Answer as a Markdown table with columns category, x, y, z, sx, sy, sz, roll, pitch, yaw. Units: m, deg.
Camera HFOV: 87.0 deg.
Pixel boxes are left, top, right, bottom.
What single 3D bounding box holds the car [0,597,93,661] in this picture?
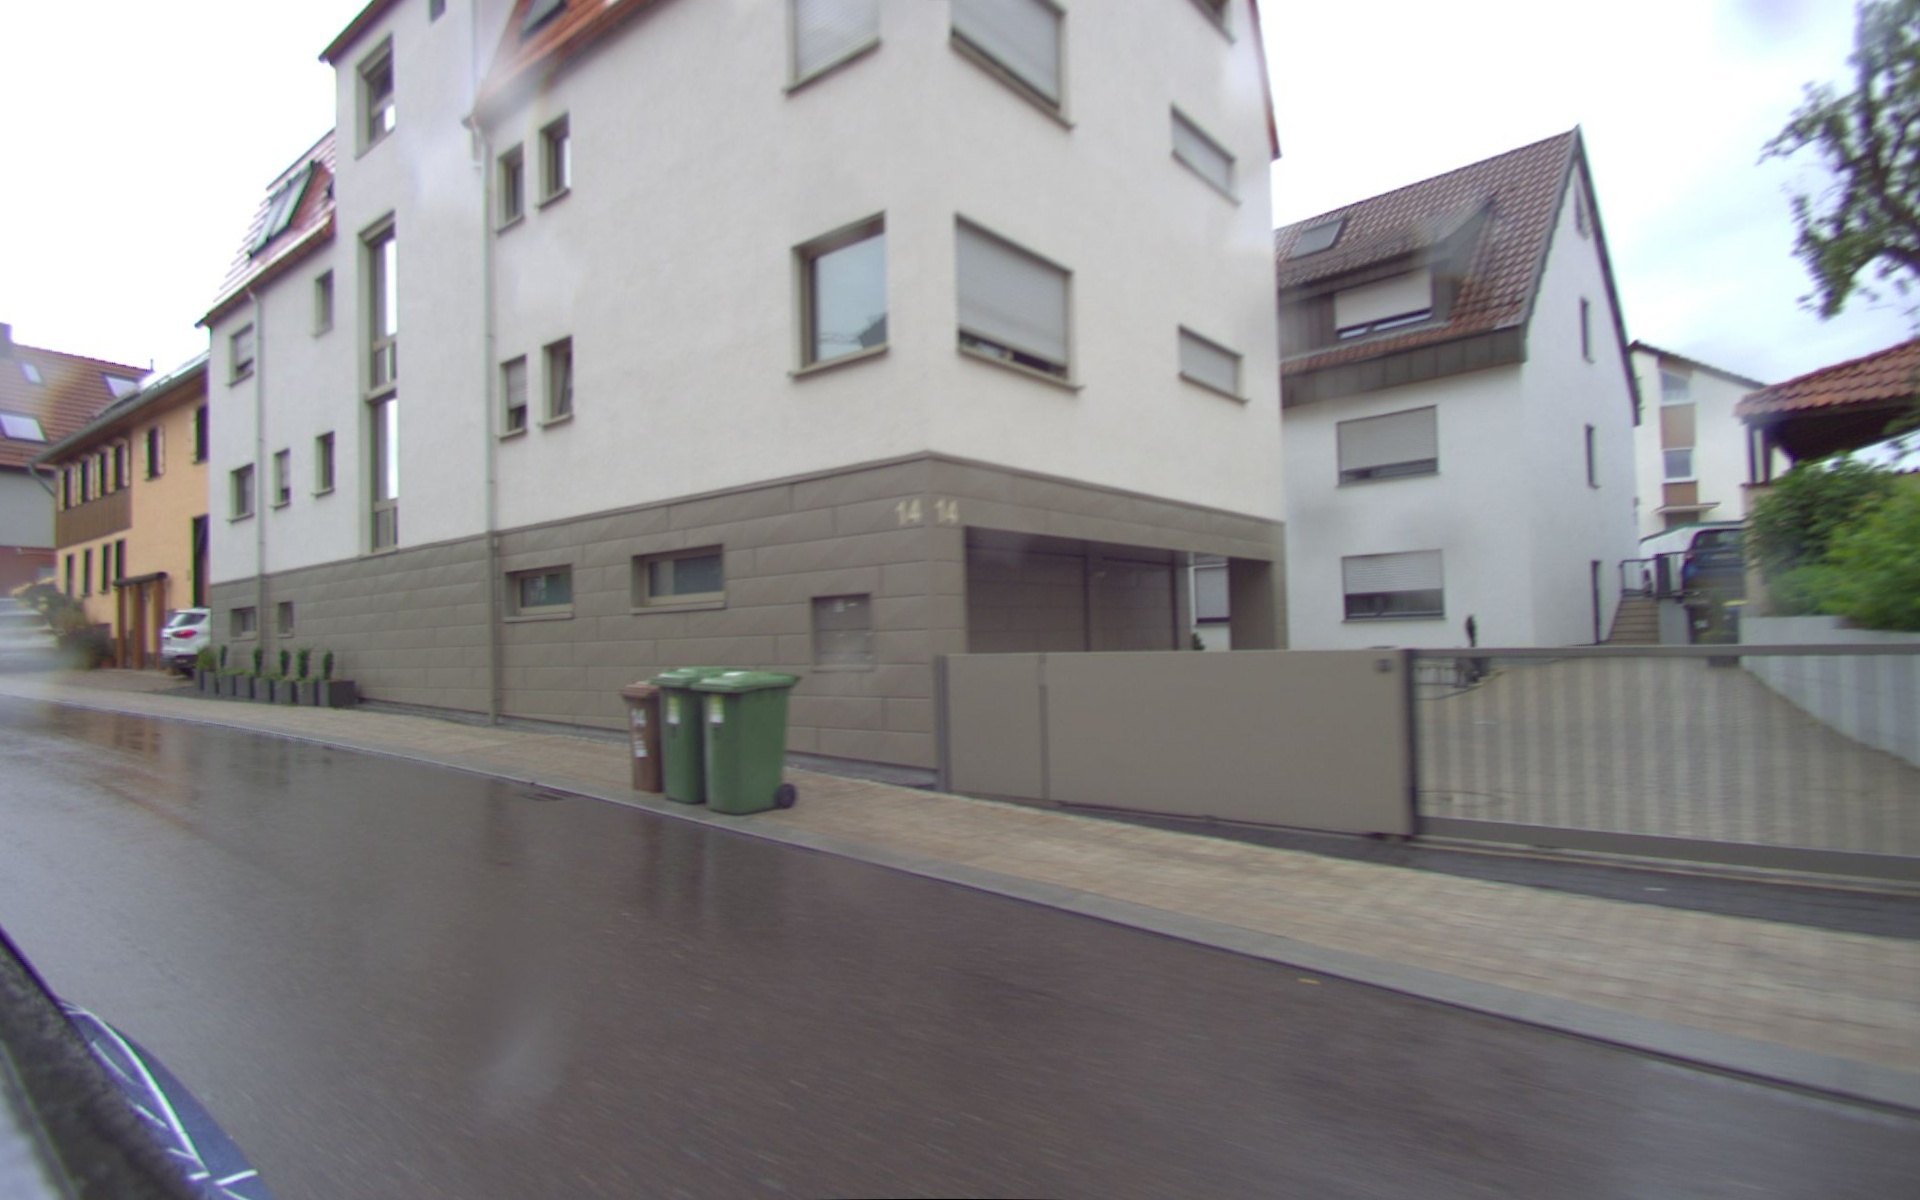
| category | x | y | z | sx | sy | sz | roll | pitch | yaw |
| --- | --- | --- | --- | --- | --- | --- | --- | --- | --- |
| car | -31.922 | 1.010 | 33.462 | 1.988 | 1.994 | 4.487 | -3 | 1 | 24 |

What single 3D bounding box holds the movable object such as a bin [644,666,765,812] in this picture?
| category | x | y | z | sx | sy | sz | roll | pitch | yaw |
| --- | --- | --- | --- | --- | --- | --- | --- | --- | --- |
| movable object such as a bin | -2.088 | 1.101 | 8.281 | 0.694 | 1.074 | 0.674 | -1 | -1 | 41 |

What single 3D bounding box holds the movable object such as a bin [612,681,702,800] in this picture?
| category | x | y | z | sx | sy | sz | roll | pitch | yaw |
| --- | --- | --- | --- | --- | --- | --- | --- | --- | --- |
| movable object such as a bin | -2.602 | 1.186 | 8.696 | 0.578 | 0.929 | 0.501 | -1 | -1 | 39 |

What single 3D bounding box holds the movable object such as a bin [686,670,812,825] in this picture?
| category | x | y | z | sx | sy | sz | roll | pitch | yaw |
| --- | --- | --- | --- | --- | --- | --- | --- | --- | --- |
| movable object such as a bin | -1.614 | 1.094 | 7.750 | 0.661 | 1.053 | 0.674 | -1 | -1 | 41 |

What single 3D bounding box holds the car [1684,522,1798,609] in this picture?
| category | x | y | z | sx | sy | sz | roll | pitch | yaw |
| --- | --- | --- | --- | --- | --- | --- | --- | --- | --- |
| car | 17.691 | -0.704 | 22.874 | 1.591 | 1.731 | 3.637 | -2 | -2 | 45 |

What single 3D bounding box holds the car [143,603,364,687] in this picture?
| category | x | y | z | sx | sy | sz | roll | pitch | yaw |
| --- | --- | --- | --- | --- | --- | --- | --- | --- | --- |
| car | -16.954 | 1.013 | 24.460 | 1.873 | 1.682 | 3.954 | -1 | 1 | 34 |

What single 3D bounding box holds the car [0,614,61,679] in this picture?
| category | x | y | z | sx | sy | sz | roll | pitch | yaw |
| --- | --- | --- | --- | --- | --- | --- | --- | --- | --- |
| car | -26.782 | 1.272 | 28.122 | 4.609 | 1.719 | 1.797 | -2 | -2 | 37 |
